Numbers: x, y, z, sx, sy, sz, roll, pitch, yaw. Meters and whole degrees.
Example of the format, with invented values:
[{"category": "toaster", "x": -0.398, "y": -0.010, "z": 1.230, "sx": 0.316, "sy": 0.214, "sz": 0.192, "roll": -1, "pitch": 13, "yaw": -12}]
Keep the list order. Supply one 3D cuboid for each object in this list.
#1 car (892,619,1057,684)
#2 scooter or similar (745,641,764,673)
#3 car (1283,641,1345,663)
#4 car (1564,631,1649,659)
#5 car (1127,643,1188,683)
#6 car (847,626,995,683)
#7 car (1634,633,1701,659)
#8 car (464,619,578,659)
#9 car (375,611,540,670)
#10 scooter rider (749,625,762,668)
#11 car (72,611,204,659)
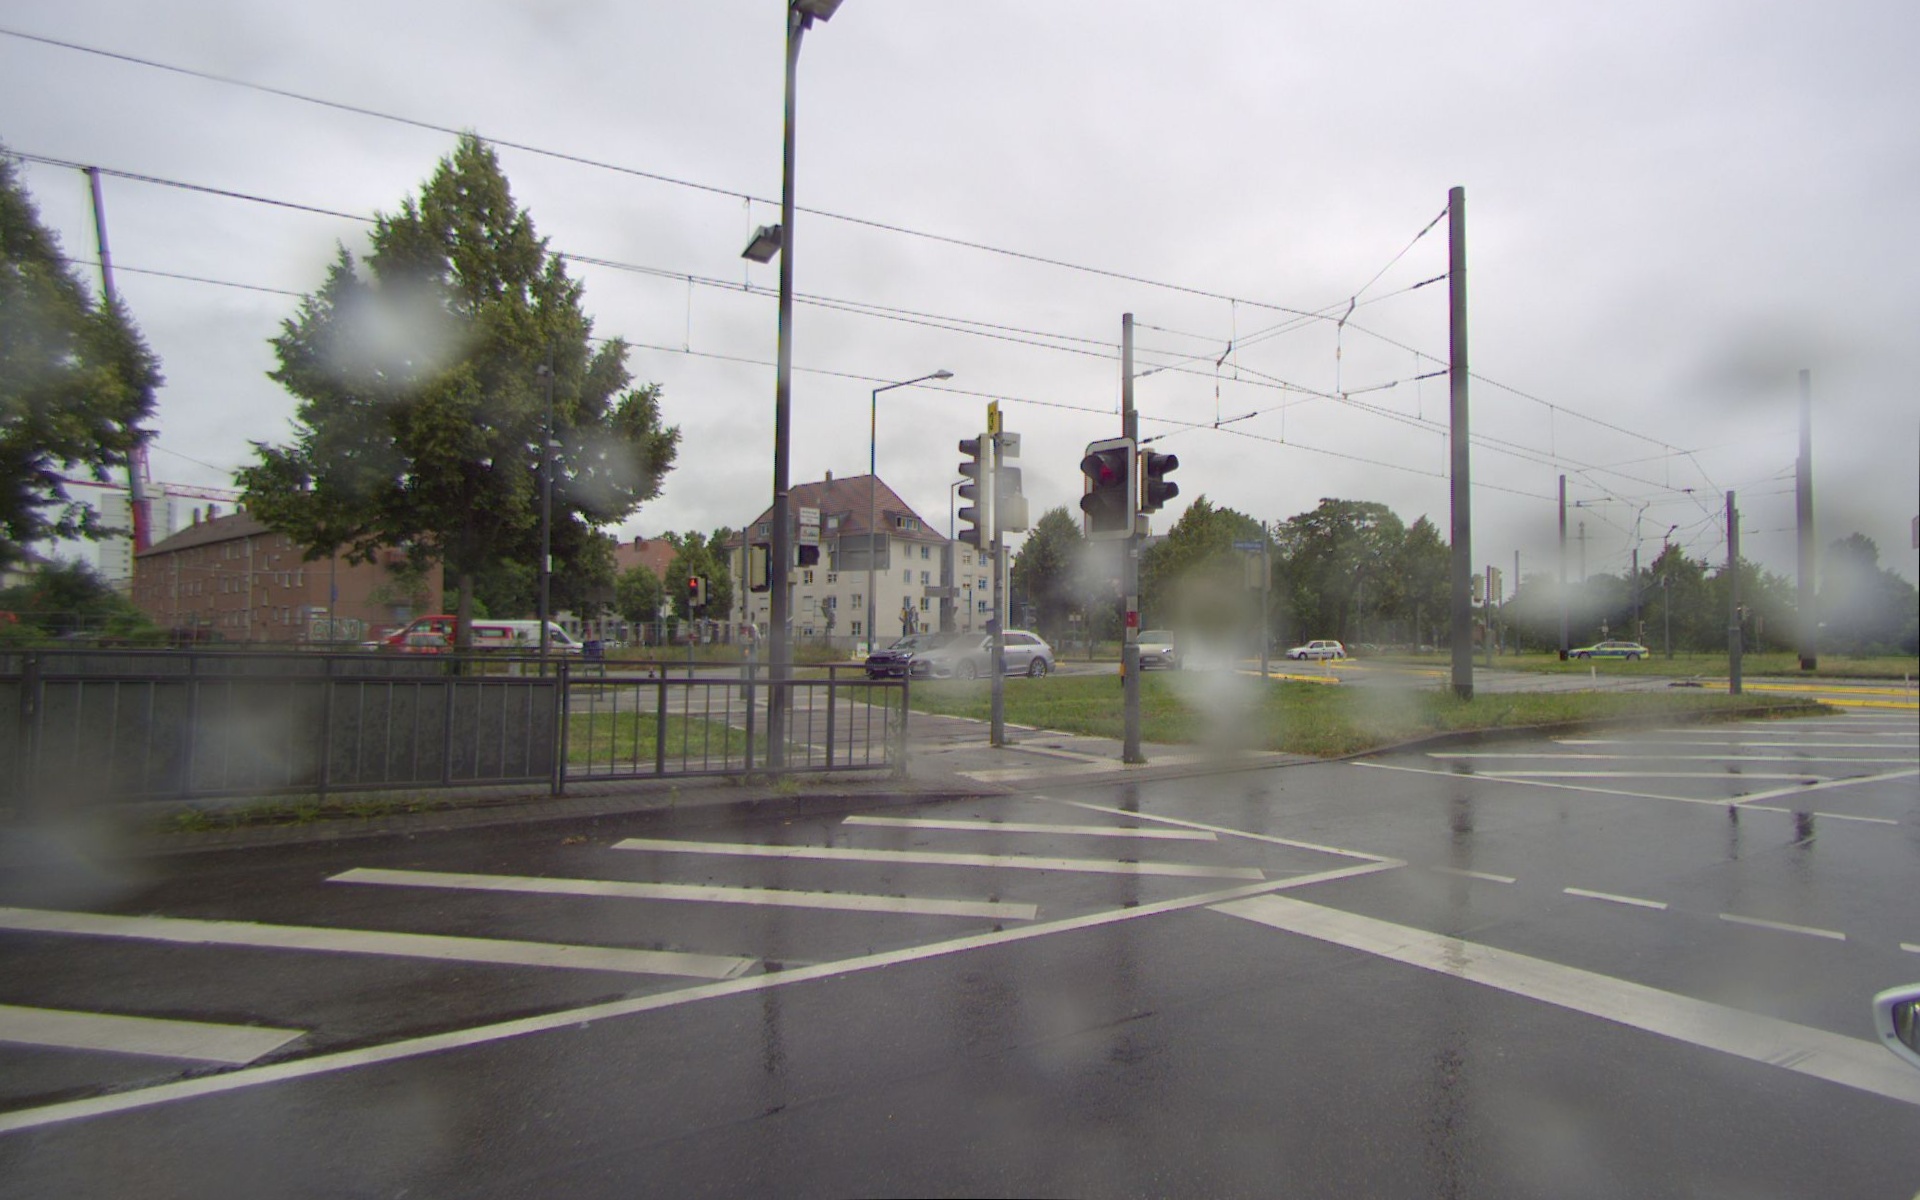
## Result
[{"category": "car", "x": 0.466, "y": 1.368, "z": 27.412, "sx": 4.371, "sy": 1.649, "sz": 1.975, "roll": 2, "pitch": -2, "yaw": -42}, {"category": "scooter or similar", "x": -8.329, "y": 2.309, "z": 40.724, "sx": 0.438, "sy": 1.276, "sz": 1.591, "roll": 0, "pitch": -2, "yaw": 1}, {"category": "car", "x": 25.303, "y": 3.699, "z": 71.840, "sx": 3.910, "sy": 1.473, "sz": 1.623, "roll": 0, "pitch": -2, "yaw": -3}, {"category": "car", "x": 45.054, "y": 3.107, "z": 70.138, "sx": 4.685, "sy": 1.875, "sz": 1.999, "roll": 0, "pitch": -2, "yaw": 24}, {"category": "car", "x": 7.913, "y": 2.472, "z": 39.993, "sx": 1.592, "sy": 1.473, "sz": 4.111, "roll": 0, "pitch": -2, "yaw": 23}, {"category": "car", "x": -1.155, "y": 1.650, "z": 31.200, "sx": 4.371, "sy": 1.649, "sz": 1.975, "roll": 2, "pitch": -2, "yaw": -42}, {"category": "car", "x": 54.860, "y": 3.544, "z": 77.914, "sx": 3.921, "sy": 1.840, "sz": 1.681, "roll": 2, "pitch": 0, "yaw": -1}, {"category": "car", "x": -25.956, "y": 2.333, "z": 59.618, "sx": 6.004, "sy": 2.308, "sz": 1.617, "roll": 1, "pitch": -2, "yaw": -18}, {"category": "car", "x": -22.280, "y": 1.800, "z": 44.857, "sx": 6.389, "sy": 2.502, "sz": 1.616, "roll": 1, "pitch": -2, "yaw": -20}, {"category": "scooter rider", "x": -8.312, "y": 1.905, "z": 40.776, "sx": 0.425, "sy": 1.731, "sz": 0.533, "roll": -1, "pitch": -3, "yaw": 0}, {"category": "car", "x": -45.416, "y": 1.980, "z": 55.694, "sx": 5.441, "sy": 2.485, "sz": 1.980, "roll": 3, "pitch": 0, "yaw": -36}]
